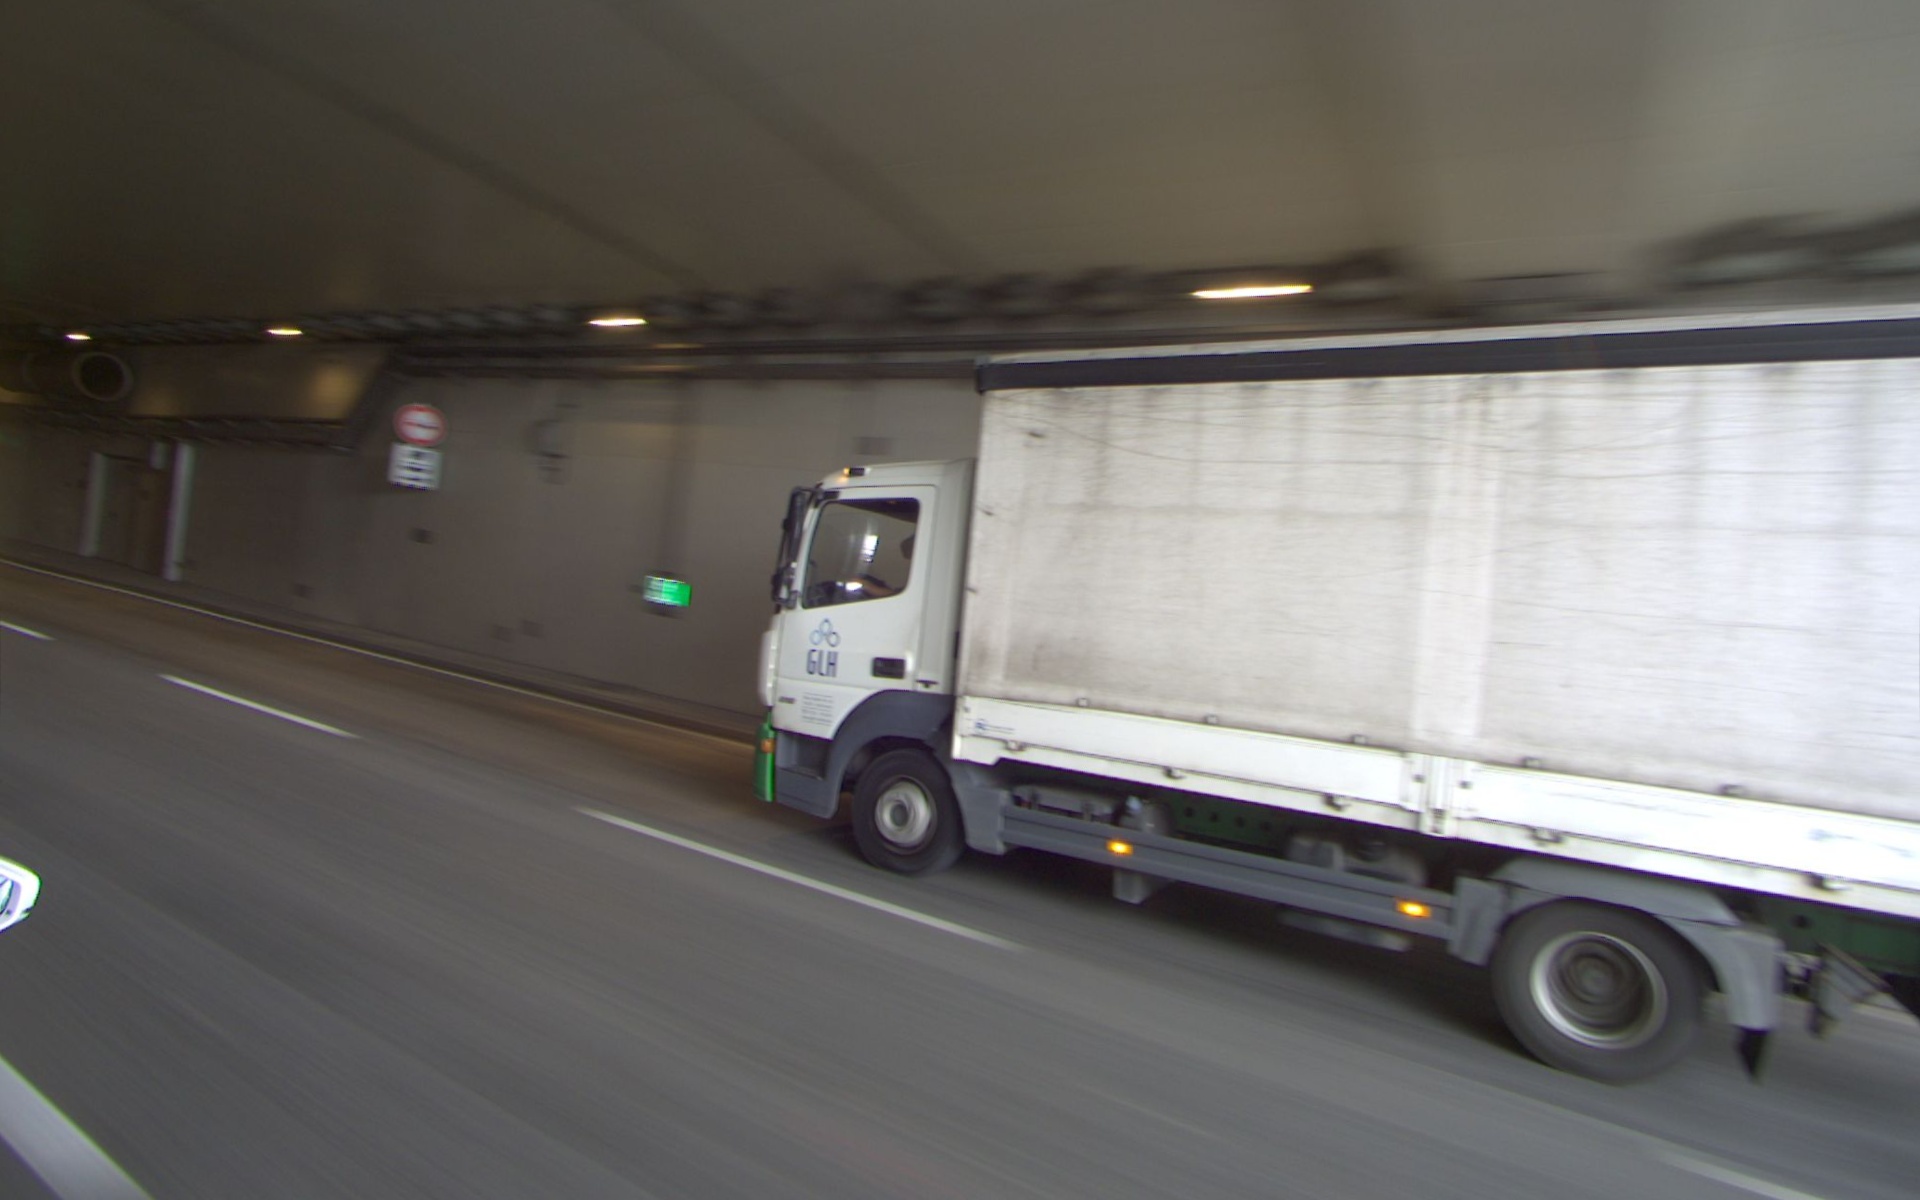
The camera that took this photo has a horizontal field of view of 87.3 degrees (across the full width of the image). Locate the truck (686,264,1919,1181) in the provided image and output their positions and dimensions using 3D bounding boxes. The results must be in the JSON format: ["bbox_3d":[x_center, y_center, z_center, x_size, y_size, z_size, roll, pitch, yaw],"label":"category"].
[{"bbox_3d":[2.130,0.288,5.899,7.302,3.223,2.653,7,0,32],"label":"truck"}]
